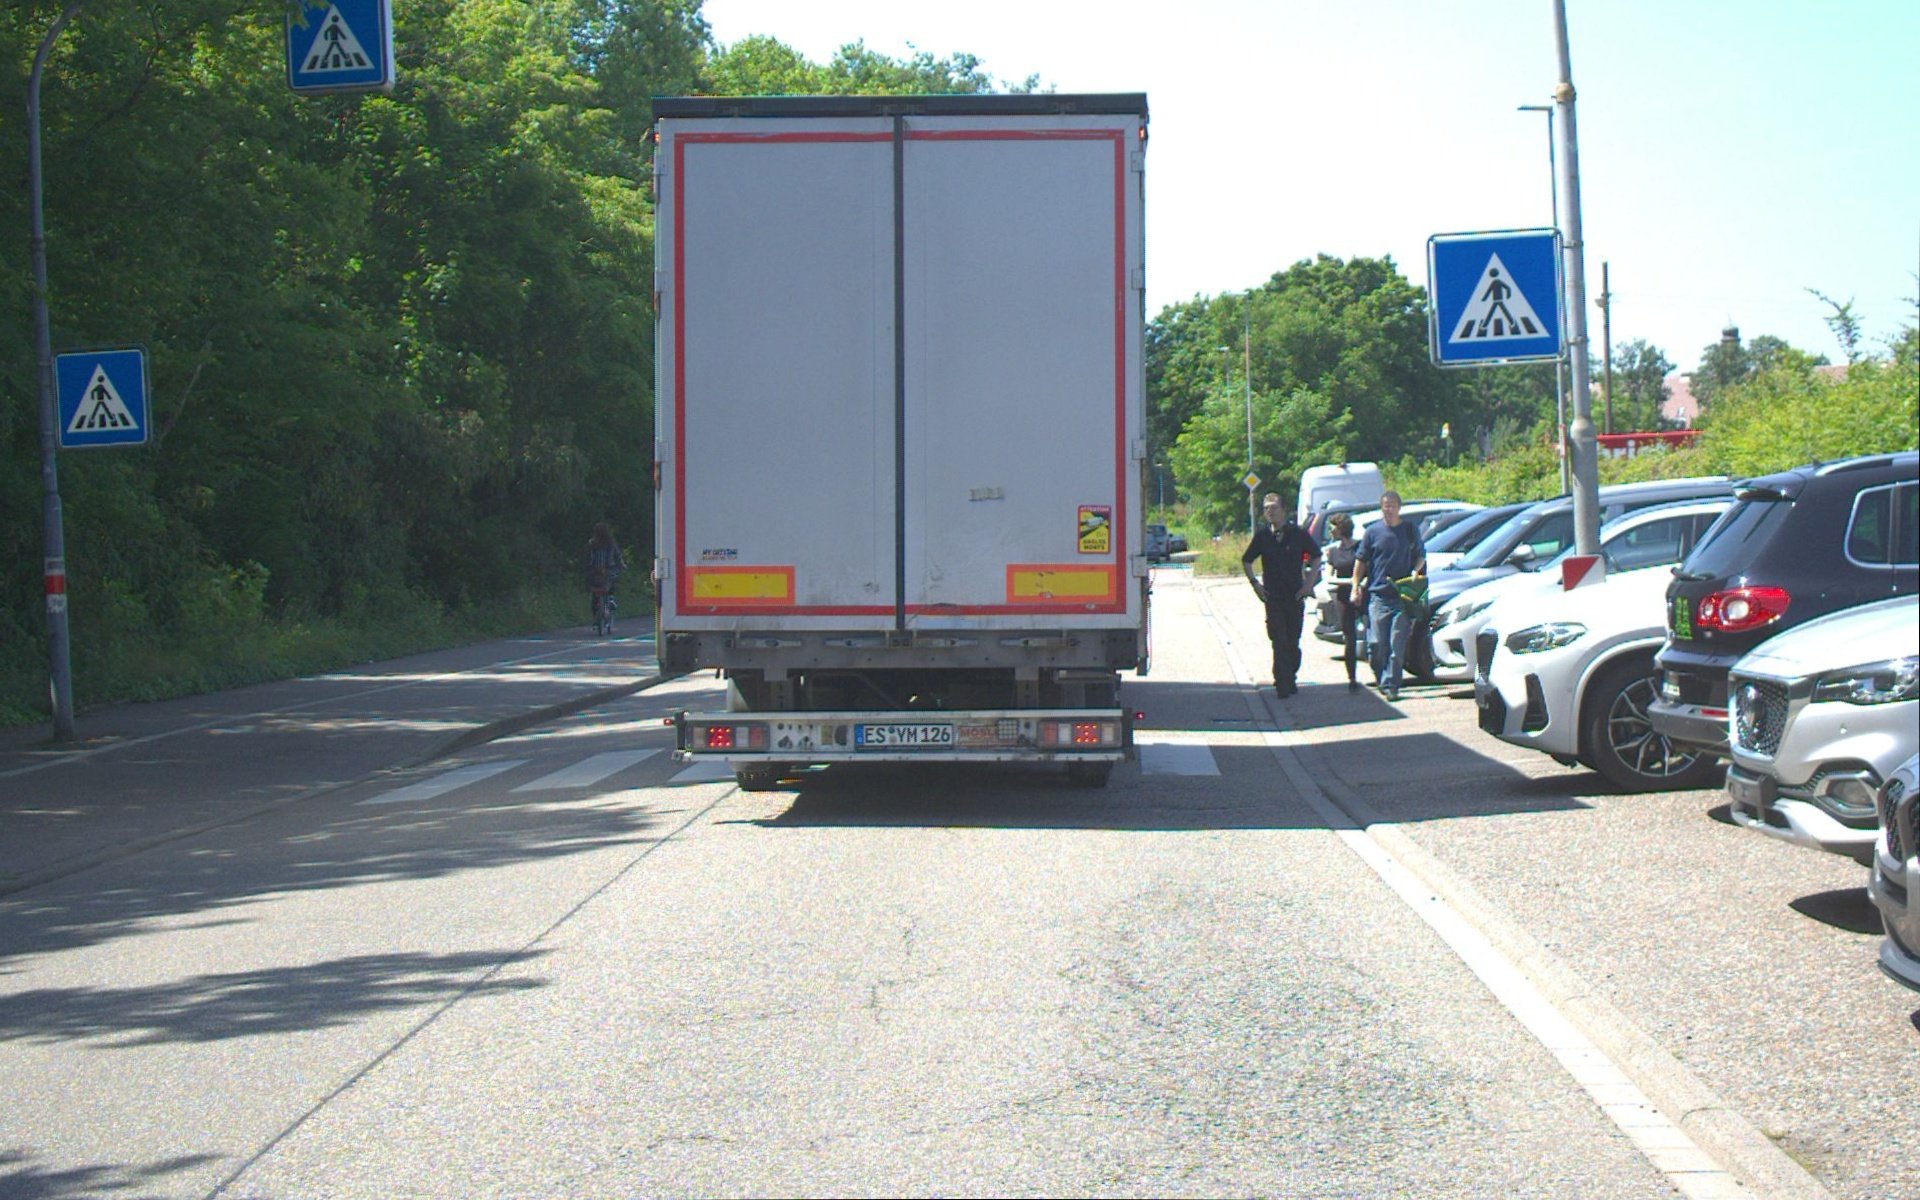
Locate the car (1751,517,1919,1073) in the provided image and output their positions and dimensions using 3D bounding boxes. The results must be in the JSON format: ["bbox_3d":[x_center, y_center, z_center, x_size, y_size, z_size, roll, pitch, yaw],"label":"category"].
[{"bbox_3d":[4.497,0.417,9.391,4.129,1.434,1.815,-3,1,-7],"label":"car"}]

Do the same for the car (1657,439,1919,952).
[{"bbox_3d":[4.823,0.200,12.162,4.236,1.648,1.900,-3,0,-1],"label":"car"}]

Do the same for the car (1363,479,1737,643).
[{"bbox_3d":[7.036,-0.466,41.216,3.956,1.580,1.814,-5,1,-6],"label":"car"}]

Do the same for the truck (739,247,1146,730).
[{"bbox_3d":[-0.014,-0.947,29.989,3.114,3.712,6.413,-1,1,2],"label":"truck"}]

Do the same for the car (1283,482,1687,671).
[{"bbox_3d":[5.735,-0.287,37.812,3.956,1.662,1.814,-5,3,-6],"label":"car"}]

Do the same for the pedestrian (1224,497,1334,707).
[{"bbox_3d":[2.919,0.007,31.417,0.822,1.828,0.792,-5,1,7],"label":"pedestrian"}]

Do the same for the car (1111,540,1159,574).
[{"bbox_3d":[8.292,-2.030,162.575,1.781,1.481,3.999,-2,1,10],"label":"car"}]

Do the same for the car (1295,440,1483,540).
[{"bbox_3d":[9.588,-2.454,77.049,3.957,1.792,1.813,-5,-1,4],"label":"car"}]

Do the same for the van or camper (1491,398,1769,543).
[{"bbox_3d":[17.935,-3.422,91.935,7.050,3.574,2.771,-1,1,15],"label":"van or camper"}]

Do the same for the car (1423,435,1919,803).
[{"bbox_3d":[4.960,-0.017,18.920,4.404,1.692,1.877,-6,1,-1],"label":"car"}]

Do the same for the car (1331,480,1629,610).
[{"bbox_3d":[7.576,-0.810,50.304,3.956,1.613,1.814,-4,1,-2],"label":"car"}]

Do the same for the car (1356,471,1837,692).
[{"bbox_3d":[5.887,-0.181,32.066,3.956,1.662,1.814,-5,1,-4],"label":"car"}]

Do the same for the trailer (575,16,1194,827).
[{"bbox_3d":[-0.240,-1.012,23.251,3.113,4.088,11.536,-1,1,1],"label":"trailer"}]

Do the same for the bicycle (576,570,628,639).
[{"bbox_3d":[-5.733,0.055,55.155,0.454,1.043,2.203,-2,1,3],"label":"bicycle"}]

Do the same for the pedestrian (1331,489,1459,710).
[{"bbox_3d":[3.729,-0.013,29.519,0.908,1.792,0.935,-5,1,7],"label":"pedestrian"}]

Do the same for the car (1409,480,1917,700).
[{"bbox_3d":[5.892,-0.100,29.211,3.957,1.475,1.813,-5,1,6],"label":"car"}]

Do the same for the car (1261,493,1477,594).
[{"bbox_3d":[8.230,-1.138,69.403,3.956,1.662,1.814,-5,1,-2],"label":"car"}]

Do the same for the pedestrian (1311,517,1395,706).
[{"bbox_3d":[3.500,0.095,30.643,0.589,1.609,0.744,-5,1,7],"label":"pedestrian"}]

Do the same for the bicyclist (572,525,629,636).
[{"bbox_3d":[-5.758,-0.315,55.062,0.717,1.752,0.796,-2,1,5],"label":"bicyclist"}]

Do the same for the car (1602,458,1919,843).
[{"bbox_3d":[5.304,0.109,16.234,4.125,1.651,1.887,-4,1,2],"label":"car"}]
